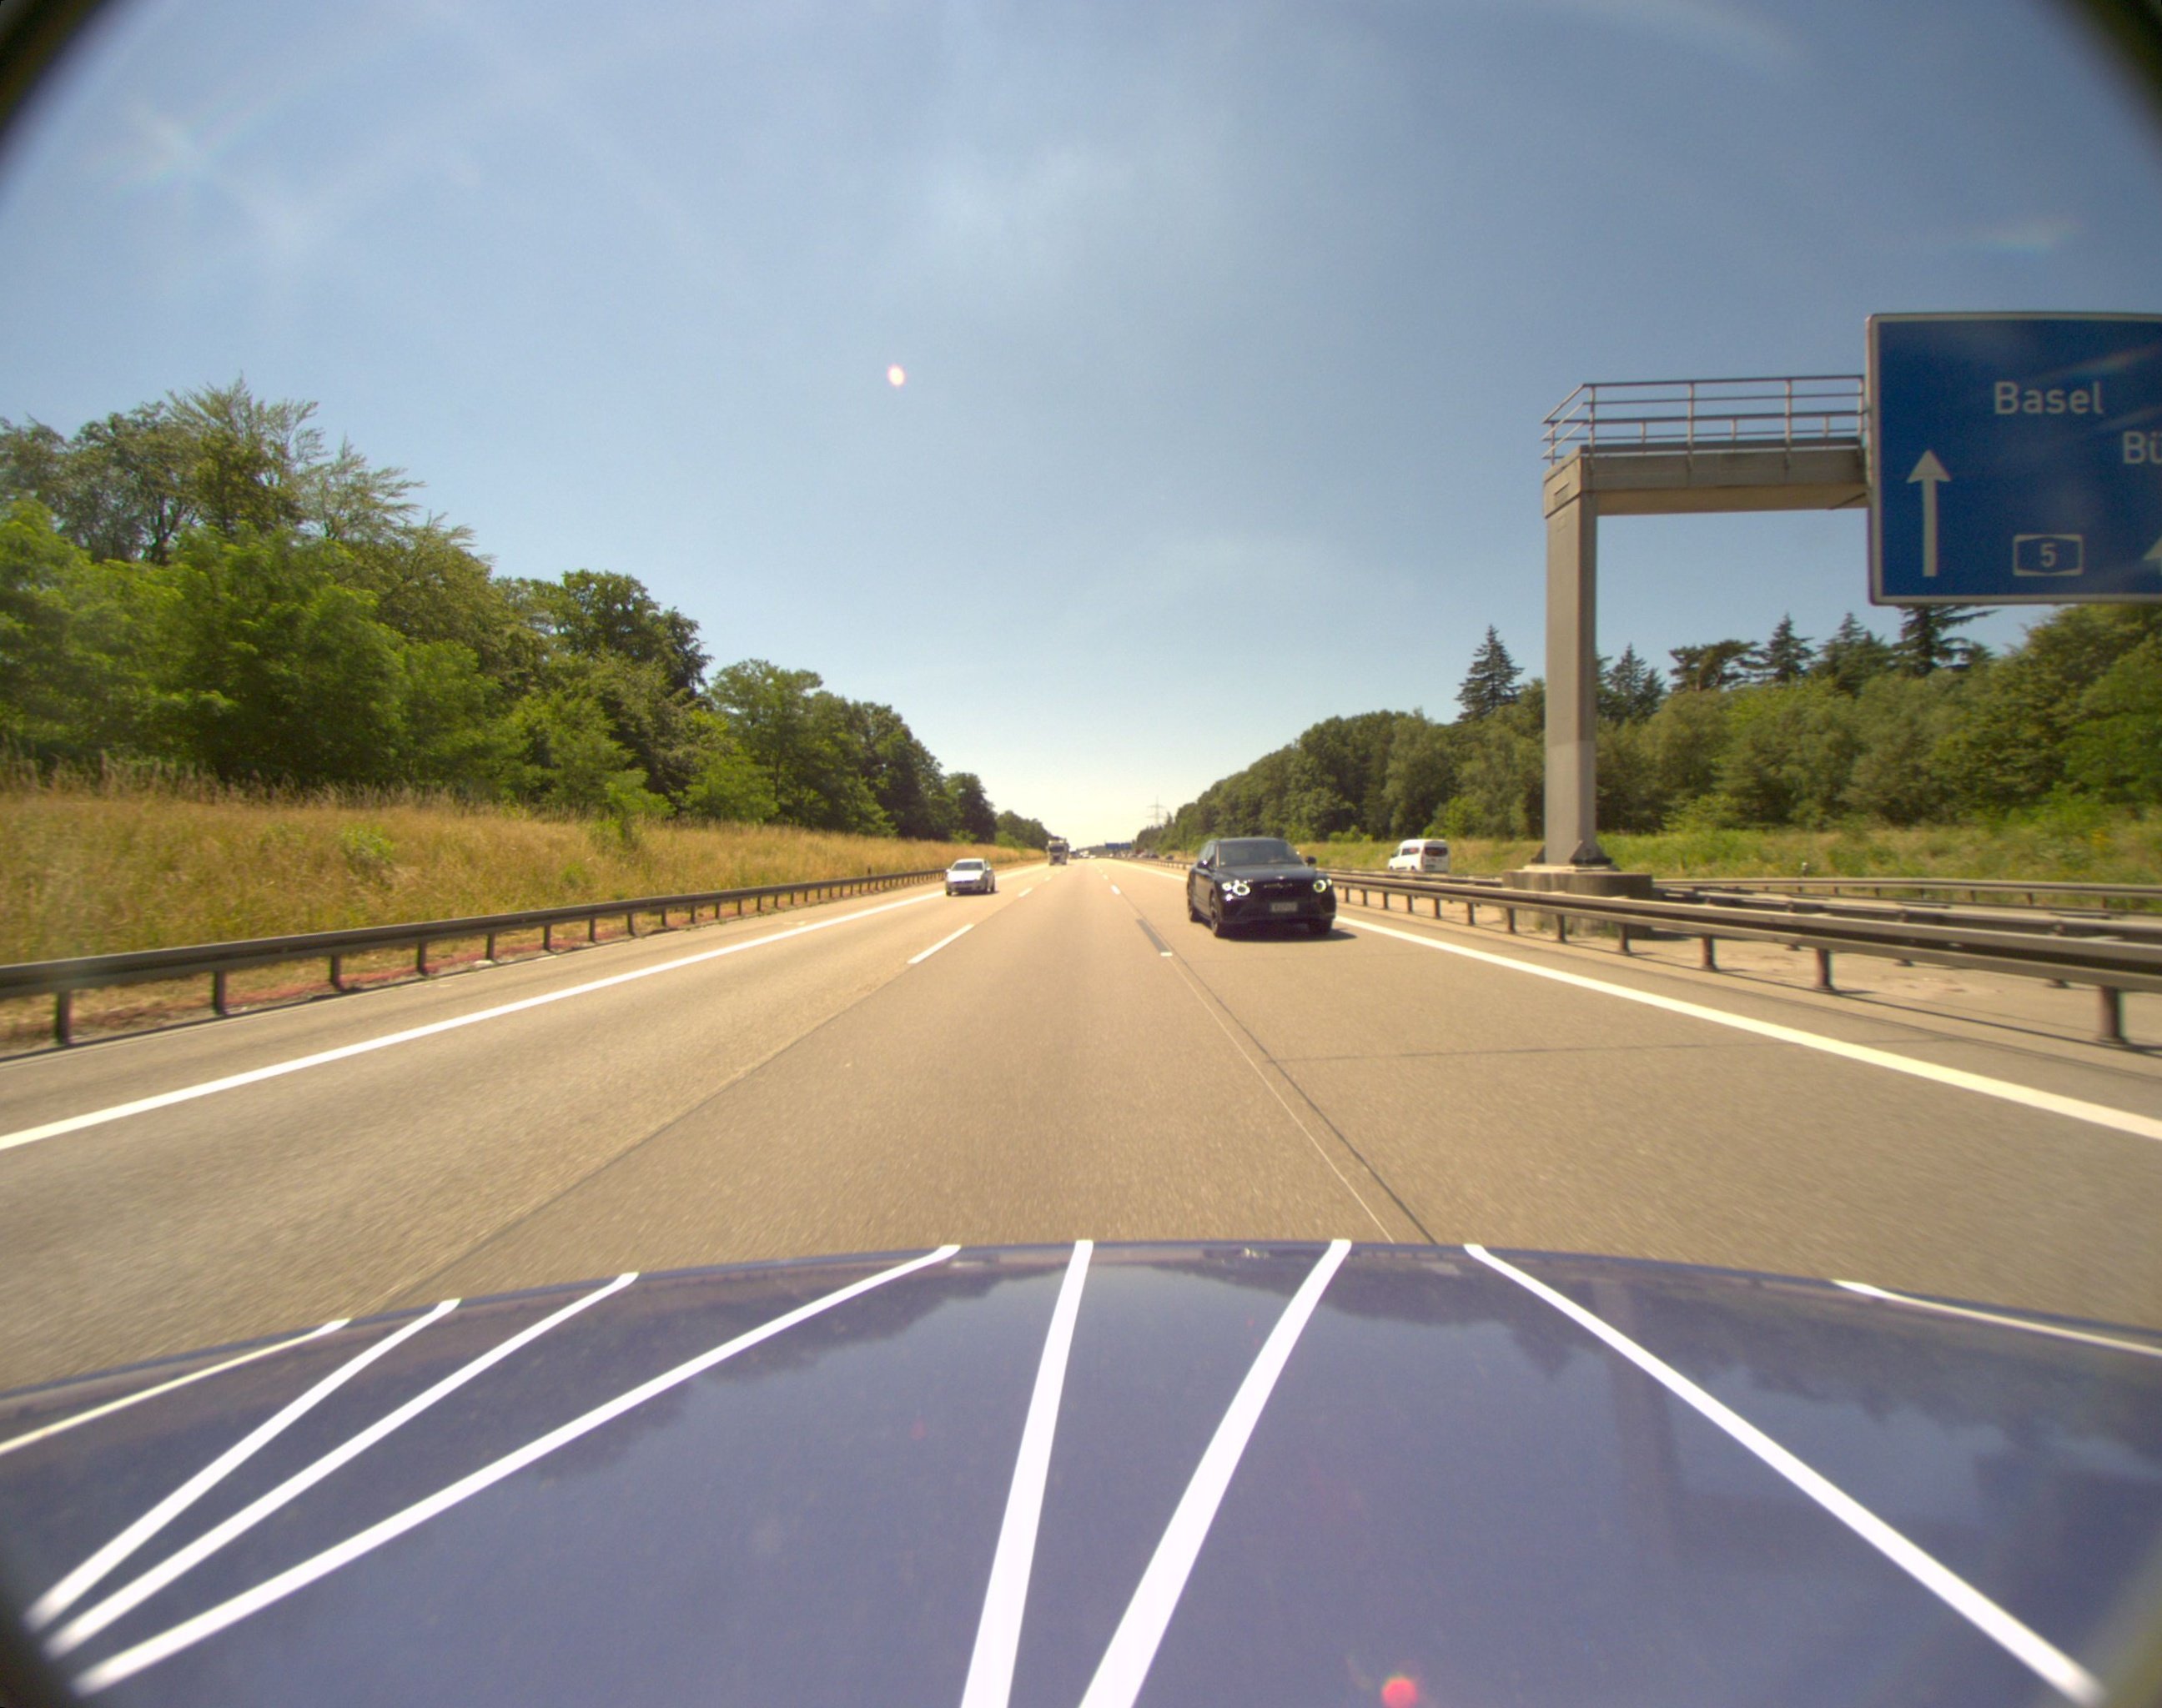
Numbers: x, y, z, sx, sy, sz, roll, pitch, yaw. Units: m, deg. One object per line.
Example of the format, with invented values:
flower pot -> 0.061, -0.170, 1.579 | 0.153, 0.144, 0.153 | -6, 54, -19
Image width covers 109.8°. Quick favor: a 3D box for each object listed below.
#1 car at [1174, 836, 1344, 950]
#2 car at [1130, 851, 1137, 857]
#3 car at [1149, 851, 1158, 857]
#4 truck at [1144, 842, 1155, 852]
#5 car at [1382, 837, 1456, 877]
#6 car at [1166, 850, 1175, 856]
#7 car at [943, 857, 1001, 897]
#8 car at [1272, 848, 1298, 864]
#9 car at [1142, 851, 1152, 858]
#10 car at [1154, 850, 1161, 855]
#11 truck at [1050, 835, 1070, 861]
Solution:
car -> 3.199, 0.623, 15.026 | 1.945, 1.742, 5.813 | -2, 0, 0
car -> 14.702, 0.017, 213.081 | 1.703, 1.421, 4.573 | 2, 0, 0
car -> 18.892, 0.051, 199.074 | 1.799, 1.609, 4.985 | 2, 0, 0
truck -> 23.714, -2.475, 263.261 | 2.739, 3.498, 10.440 | 2, 0, 0
car -> 21.201, 0.136, 47.979 | 1.992, 2.327, 5.809 | 2, 0, 0
car -> 22.842, -0.233, 194.175 | 1.675, 1.401, 4.597 | 2, 0, 0
car -> -4.550, 0.924, 32.278 | 1.749, 1.457, 3.980 | -2, 0, 1
car -> 22.028, 0.193, 82.164 | 1.650, 1.581, 4.611 | 1, 0, 0
car -> 15.303, 0.142, 176.730 | 1.799, 1.466, 4.986 | 2, 0, 0
car -> 23.966, -0.448, 238.475 | 1.658, 1.403, 5.176 | 1, 0, 0
truck -> -3.244, -0.965, 118.089 | 2.605, 3.811, 5.969 | -2, 0, 1
